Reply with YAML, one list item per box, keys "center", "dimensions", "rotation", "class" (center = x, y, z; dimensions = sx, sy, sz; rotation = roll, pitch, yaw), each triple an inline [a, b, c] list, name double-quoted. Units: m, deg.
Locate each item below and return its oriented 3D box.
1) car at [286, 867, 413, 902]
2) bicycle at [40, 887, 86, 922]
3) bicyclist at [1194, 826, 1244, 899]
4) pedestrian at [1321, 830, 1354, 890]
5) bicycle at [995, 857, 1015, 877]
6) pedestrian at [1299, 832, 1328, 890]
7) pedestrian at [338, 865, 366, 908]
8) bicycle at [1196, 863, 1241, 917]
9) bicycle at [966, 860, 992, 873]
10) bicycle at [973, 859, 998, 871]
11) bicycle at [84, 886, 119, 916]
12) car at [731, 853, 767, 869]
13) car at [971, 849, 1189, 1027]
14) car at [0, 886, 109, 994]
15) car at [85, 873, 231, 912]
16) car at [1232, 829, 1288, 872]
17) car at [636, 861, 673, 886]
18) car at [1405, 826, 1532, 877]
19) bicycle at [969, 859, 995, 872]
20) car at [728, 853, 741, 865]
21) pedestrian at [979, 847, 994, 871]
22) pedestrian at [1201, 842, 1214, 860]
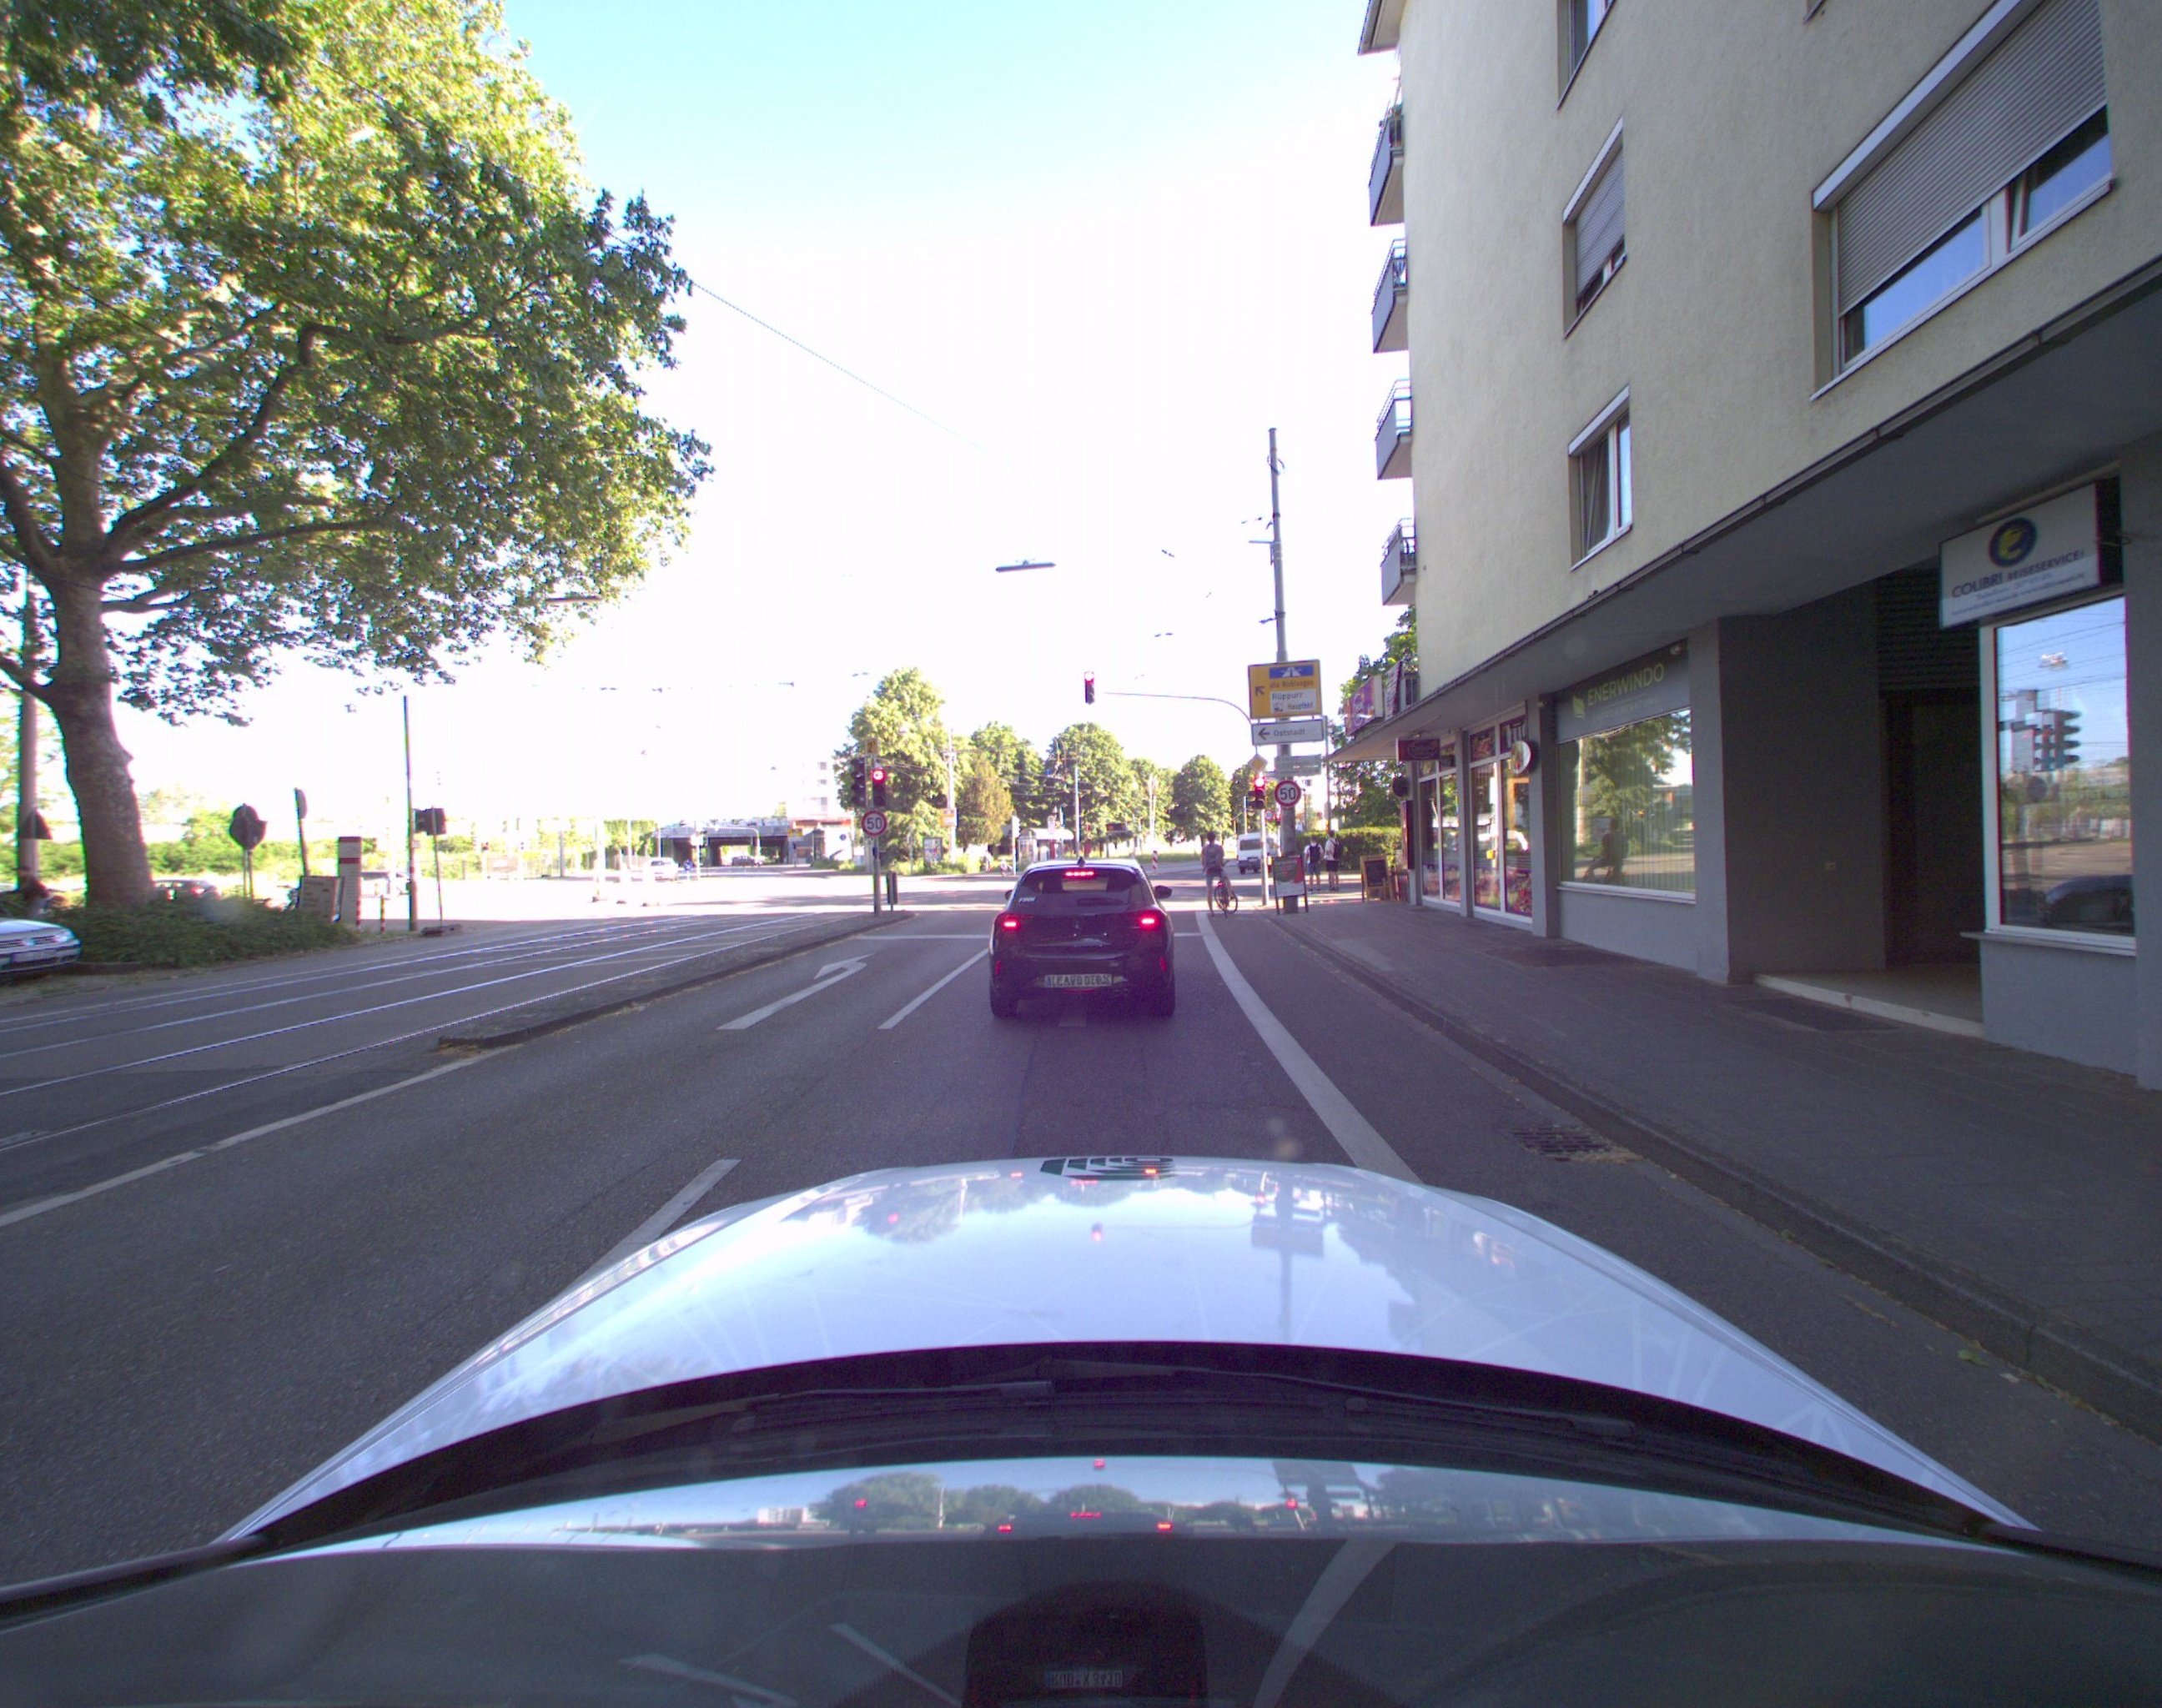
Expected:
- center: [-34.749, 1.395, 38.739]
  dimensions: [2.070, 1.531, 4.332]
  rotation: [-1, -1, 43]
  class: "car"
- center: [-25.020, 1.228, 20.039]
  dimensions: [0.360, 0.759, 1.759]
  rotation: [-2, 0, -40]
  class: "bicycle"
- center: [2.999, 0.173, 17.863]
  dimensions: [0.837, 1.510, 1.368]
  rotation: [-2, 0, 0]
  class: "bicyclist"
- center: [8.032, 0.183, 25.516]
  dimensions: [0.696, 1.846, 0.705]
  rotation: [-2, 0, 41]
  class: "pedestrian"
- center: [-4.361, 0.748, 46.876]
  dimensions: [0.821, 1.059, 1.885]
  rotation: [-2, 0, 4]
  class: "bicycle"
- center: [7.265, 0.217, 25.486]
  dimensions: [0.696, 1.792, 0.617]
  rotation: [-2, 0, 1]
  class: "pedestrian"
- center: [-27.619, 1.229, 30.851]
  dimensions: [0.602, 1.596, 0.679]
  rotation: [0, -1, -24]
  class: "pedestrian"
- center: [2.998, 0.761, 17.930]
  dimensions: [0.665, 1.059, 2.083]
  rotation: [-2, 0, 2]
  class: "bicycle"
- center: [-8.047, 0.973, 64.182]
  dimensions: [1.866, 0.906, 0.661]
  rotation: [-2, 0, 8]
  class: "bicycle"
- center: [-7.744, 0.925, 66.032]
  dimensions: [1.866, 0.906, 0.661]
  rotation: [-2, 0, 8]
  class: "bicycle"
- center: [-26.302, 1.241, 21.863]
  dimensions: [1.757, 0.759, 0.360]
  rotation: [-1, 0, 32]
  class: "bicycle"
- center: [-43.984, 0.918, 107.932]
  dimensions: [3.966, 2.014, 2.004]
  rotation: [0, -1, 6]
  class: "car"
- center: [0.107, 0.696, 8.814]
  dimensions: [1.793, 1.441, 3.943]
  rotation: [-2, 0, 3]
  class: "car"
- center: [-16.668, 1.205, 11.321]
  dimensions: [3.980, 1.417, 1.701]
  rotation: [0, -1, -5]
  class: "car"
- center: [-43.070, 1.764, 38.157]
  dimensions: [4.006, 1.419, 1.880]
  rotation: [-1, 6, -25]
  class: "car"
- center: [10.146, -0.178, 45.929]
  dimensions: [2.070, 2.277, 4.331]
  rotation: [-1, -1, 26]
  class: "car"
- center: [-29.559, 1.320, 56.354]
  dimensions: [2.007, 1.631, 4.585]
  rotation: [-2, 1, -31]
  class: "car"
- center: [15.141, -0.065, 32.042]
  dimensions: [4.150, 1.814, 1.811]
  rotation: [-2, -3, 10]
  class: "car"
- center: [-7.921, 0.920, 65.165]
  dimensions: [1.866, 0.906, 0.661]
  rotation: [-2, 0, 8]
  class: "bicycle"
- center: [-60.197, 0.862, 141.362]
  dimensions: [2.003, 2.014, 3.967]
  rotation: [0, -1, -25]
  class: "car"
- center: [-6.808, 0.327, 58.646]
  dimensions: [0.719, 1.693, 0.705]
  rotation: [-2, 0, 24]
  class: "pedestrian"
- center: [12.641, -0.282, 81.383]
  dimensions: [0.949, 1.793, 1.002]
  rotation: [-2, 0, 27]
  class: "pedestrian"
